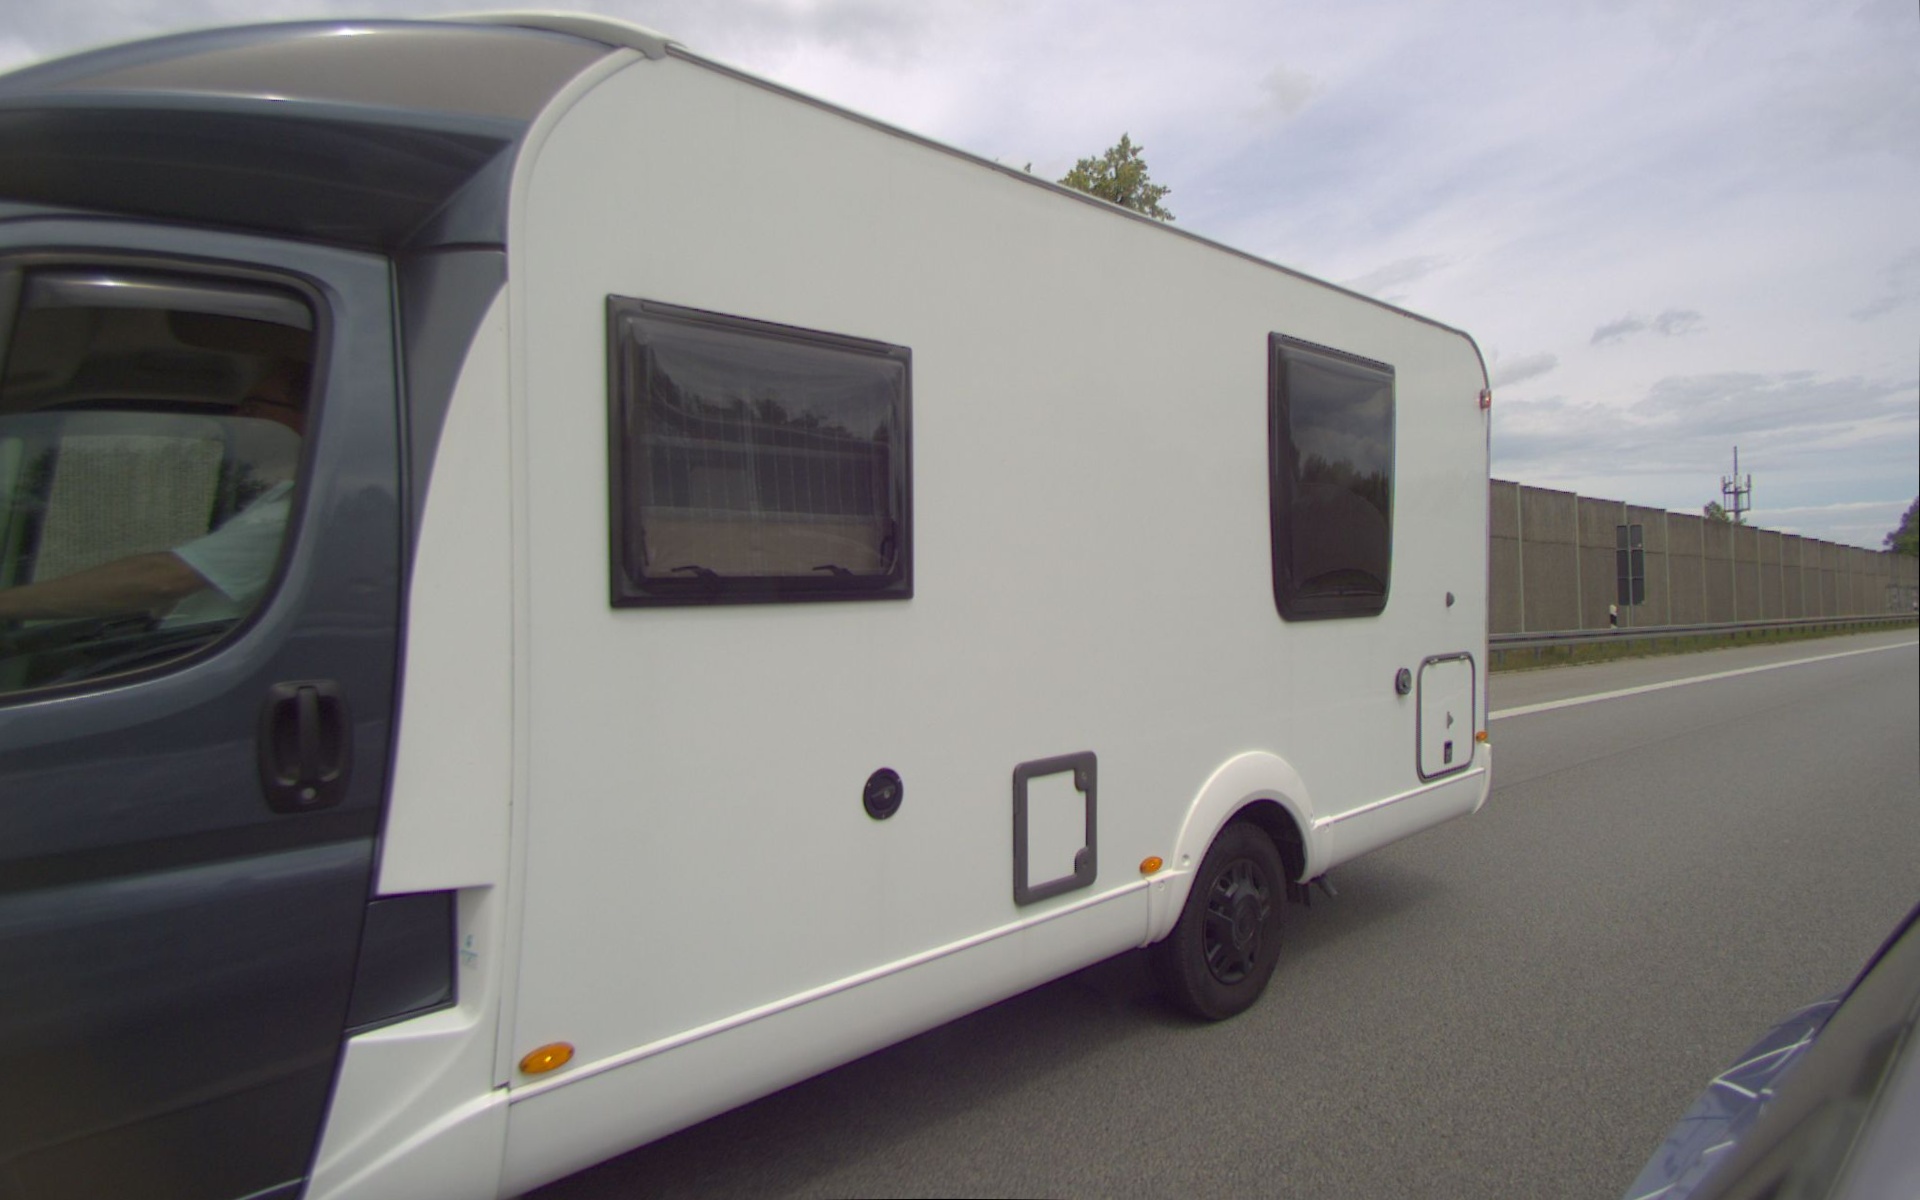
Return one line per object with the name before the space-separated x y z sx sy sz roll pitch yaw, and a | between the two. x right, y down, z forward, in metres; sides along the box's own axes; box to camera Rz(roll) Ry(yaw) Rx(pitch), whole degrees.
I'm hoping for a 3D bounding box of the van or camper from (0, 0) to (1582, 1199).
van or camper | -0.346 -0.015 3.735 7.098 2.731 2.433 0 0 -40
